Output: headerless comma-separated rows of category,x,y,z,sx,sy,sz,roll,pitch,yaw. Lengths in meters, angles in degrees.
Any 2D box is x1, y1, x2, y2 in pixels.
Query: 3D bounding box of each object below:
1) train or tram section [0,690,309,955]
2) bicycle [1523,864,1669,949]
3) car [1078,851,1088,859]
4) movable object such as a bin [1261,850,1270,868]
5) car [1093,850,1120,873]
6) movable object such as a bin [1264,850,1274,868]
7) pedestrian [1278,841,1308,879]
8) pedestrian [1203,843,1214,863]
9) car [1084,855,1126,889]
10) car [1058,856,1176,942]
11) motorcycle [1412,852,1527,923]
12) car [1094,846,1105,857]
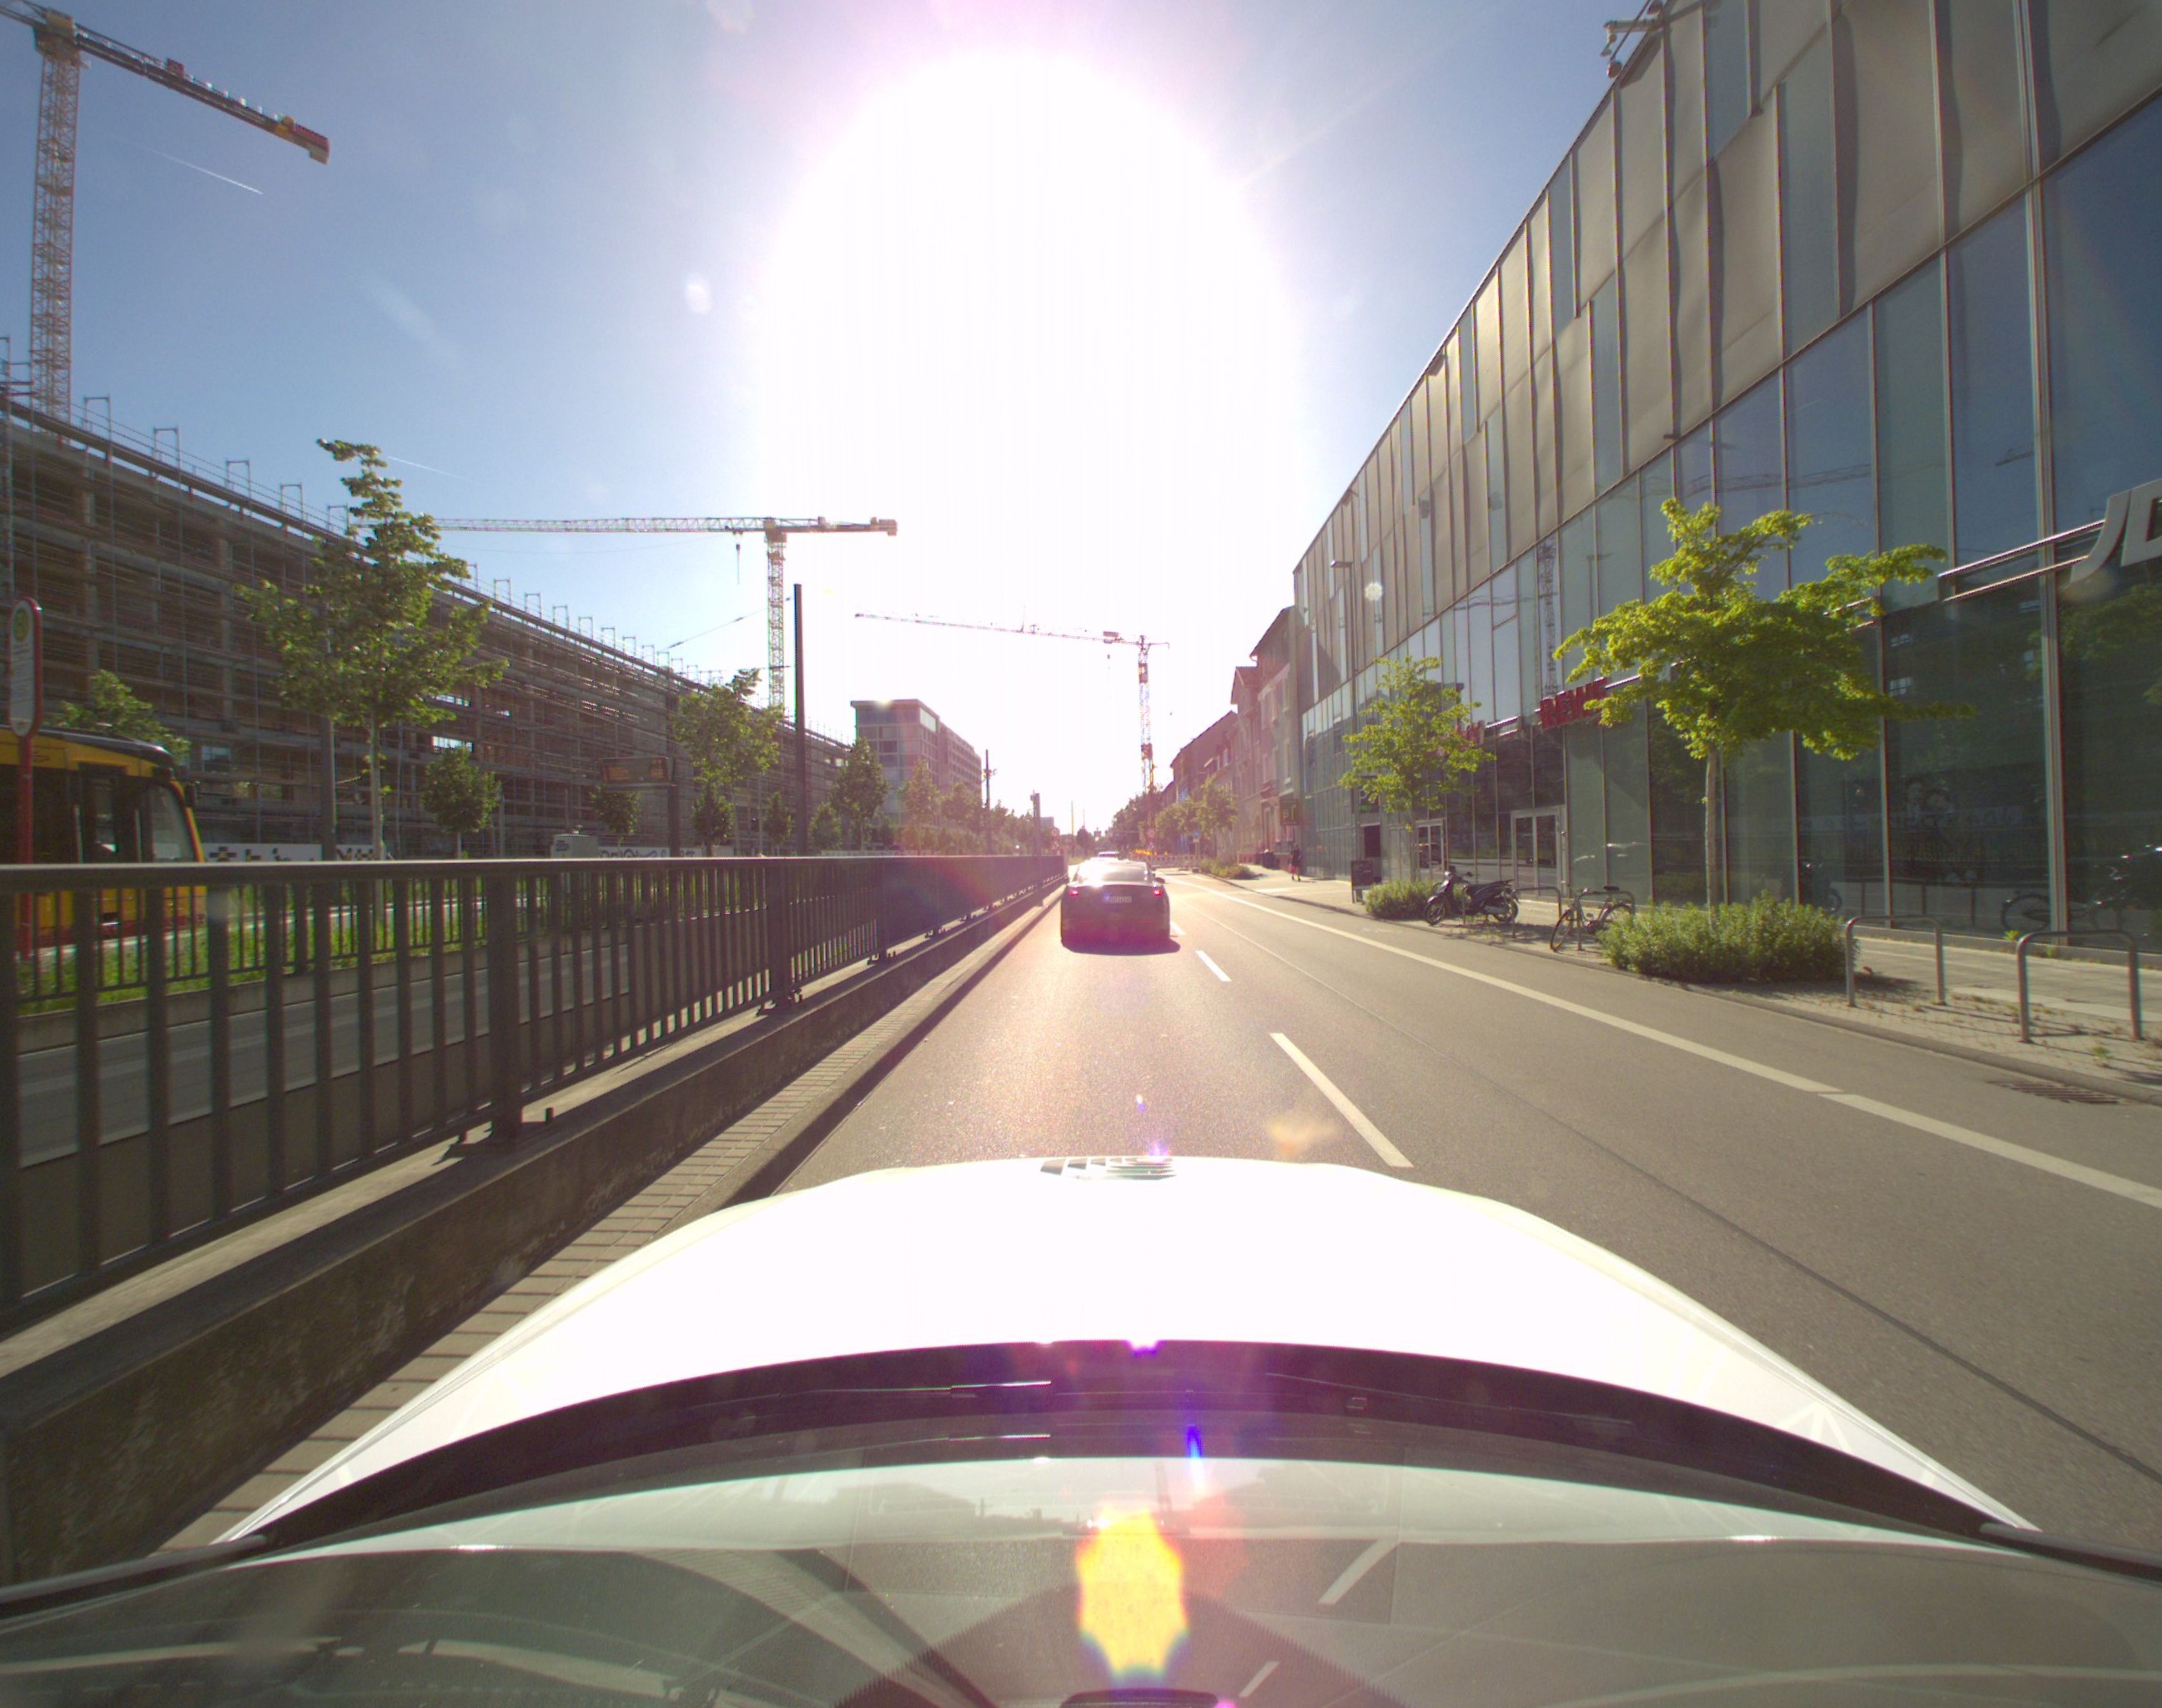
train or tram section,-15.090,-0.373,2.904,2.859,3.279,22.155,0,0,2
bicycle,7.931,0.789,12.578,1.880,1.151,0.669,-3,0,-9
car,0.413,0.229,177.964,1.986,1.684,4.001,0,0,1
movable object such as a bin,12.304,0.328,54.306,0.556,1.169,0.563,0,-1,6
car,1.879,0.501,58.445,1.777,1.546,4.042,-1,0,3
movable object such as a bin,12.353,0.323,53.455,0.556,1.169,0.563,0,-1,6
pedestrian,10.744,0.284,41.232,1.091,1.863,1.523,-2,0,1
pedestrian,11.919,-0.069,76.242,0.848,1.863,0.930,-2,0,1
car,1.115,0.762,35.709,1.709,1.319,4.003,-1,0,3
car,0.702,0.766,16.044,1.991,1.434,4.415,-1,0,2
motorcycle,8.143,0.714,17.125,2.054,1.353,0.656,-4,-1,25
car,3.263,-0.470,141.696,1.806,1.809,4.042,-1,0,3
